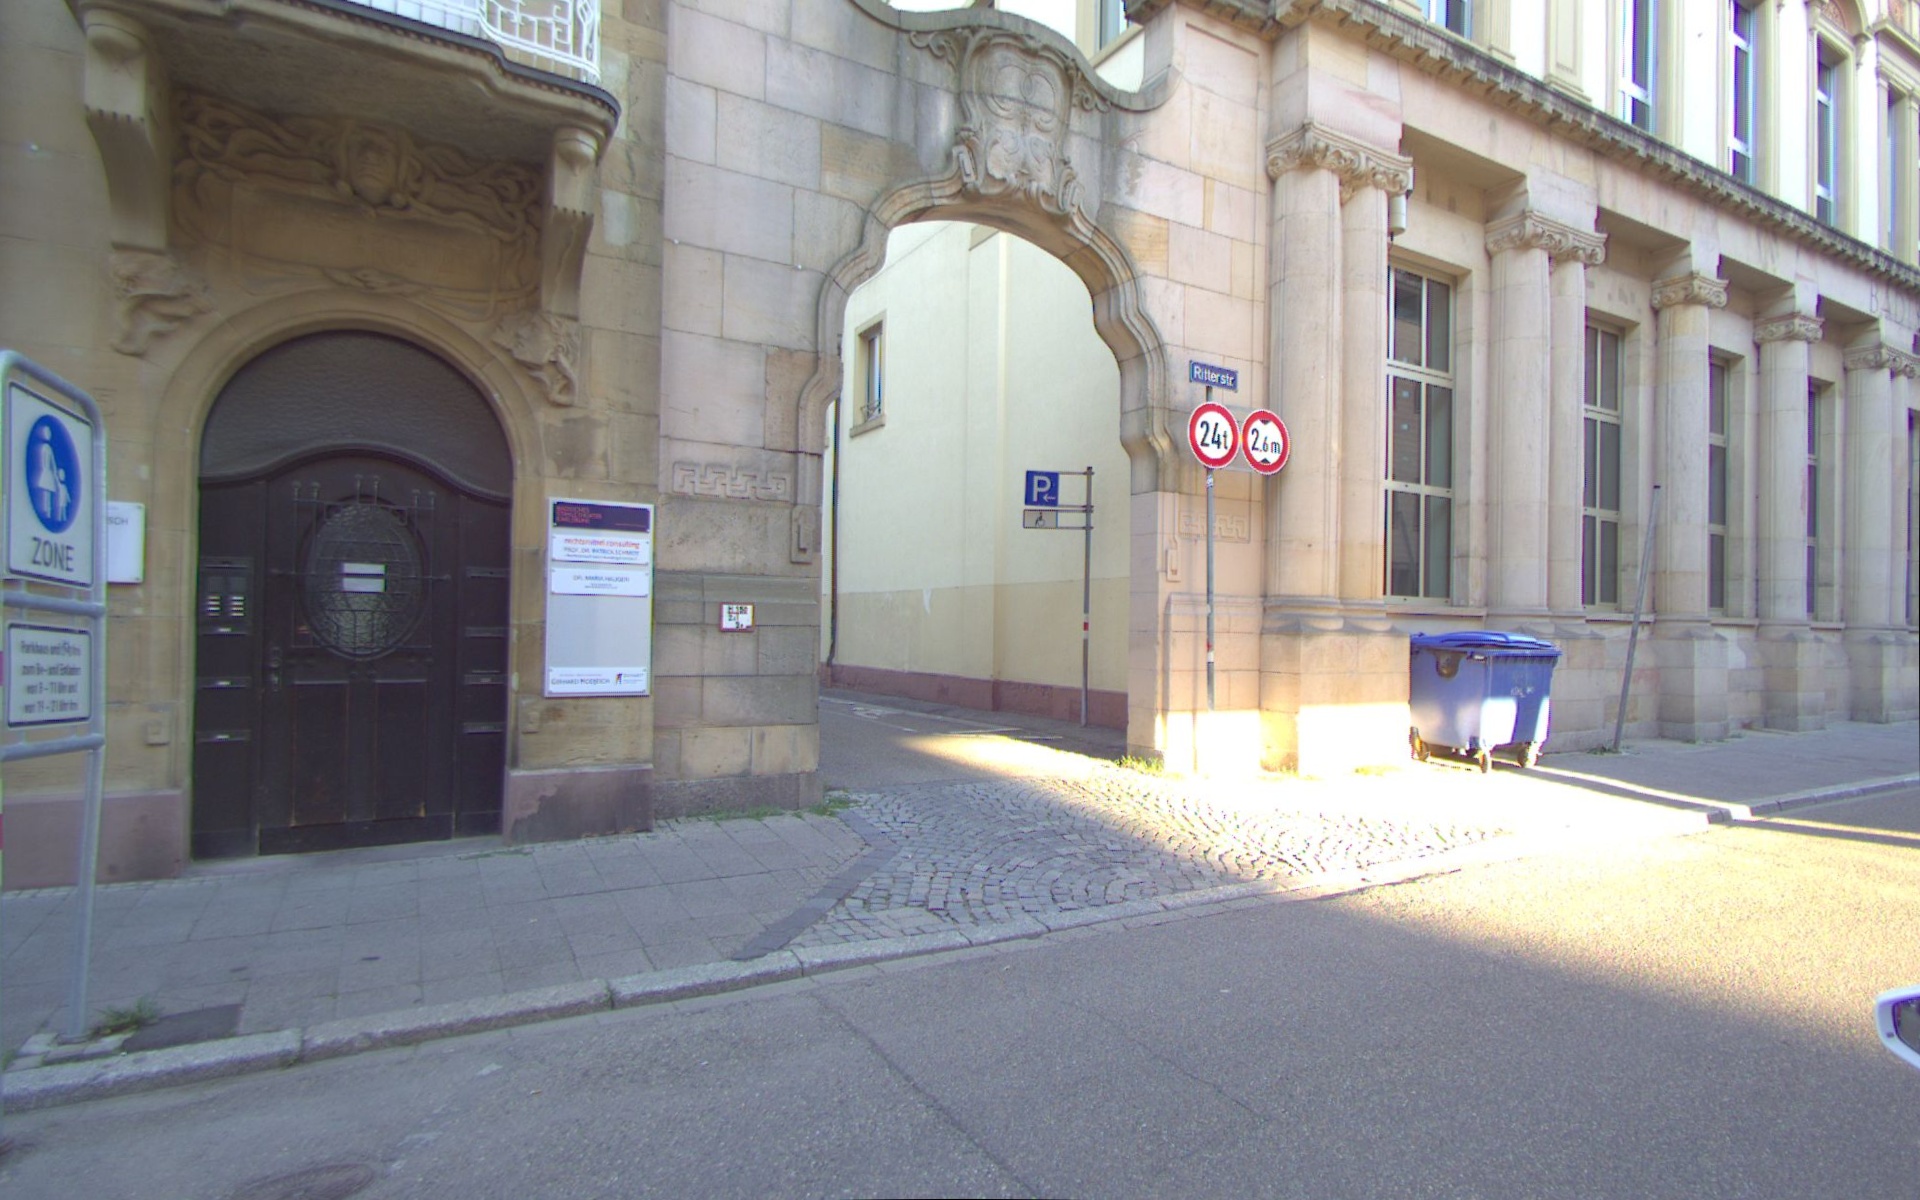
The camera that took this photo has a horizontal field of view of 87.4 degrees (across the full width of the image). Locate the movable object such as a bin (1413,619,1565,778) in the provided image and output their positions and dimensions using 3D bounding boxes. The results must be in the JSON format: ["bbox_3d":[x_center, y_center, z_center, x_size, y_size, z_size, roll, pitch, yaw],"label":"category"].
[{"bbox_3d":[5.445,0.969,10.340,1.275,1.523,0.825,1,-1,-29],"label":"movable object such as a bin"}]
